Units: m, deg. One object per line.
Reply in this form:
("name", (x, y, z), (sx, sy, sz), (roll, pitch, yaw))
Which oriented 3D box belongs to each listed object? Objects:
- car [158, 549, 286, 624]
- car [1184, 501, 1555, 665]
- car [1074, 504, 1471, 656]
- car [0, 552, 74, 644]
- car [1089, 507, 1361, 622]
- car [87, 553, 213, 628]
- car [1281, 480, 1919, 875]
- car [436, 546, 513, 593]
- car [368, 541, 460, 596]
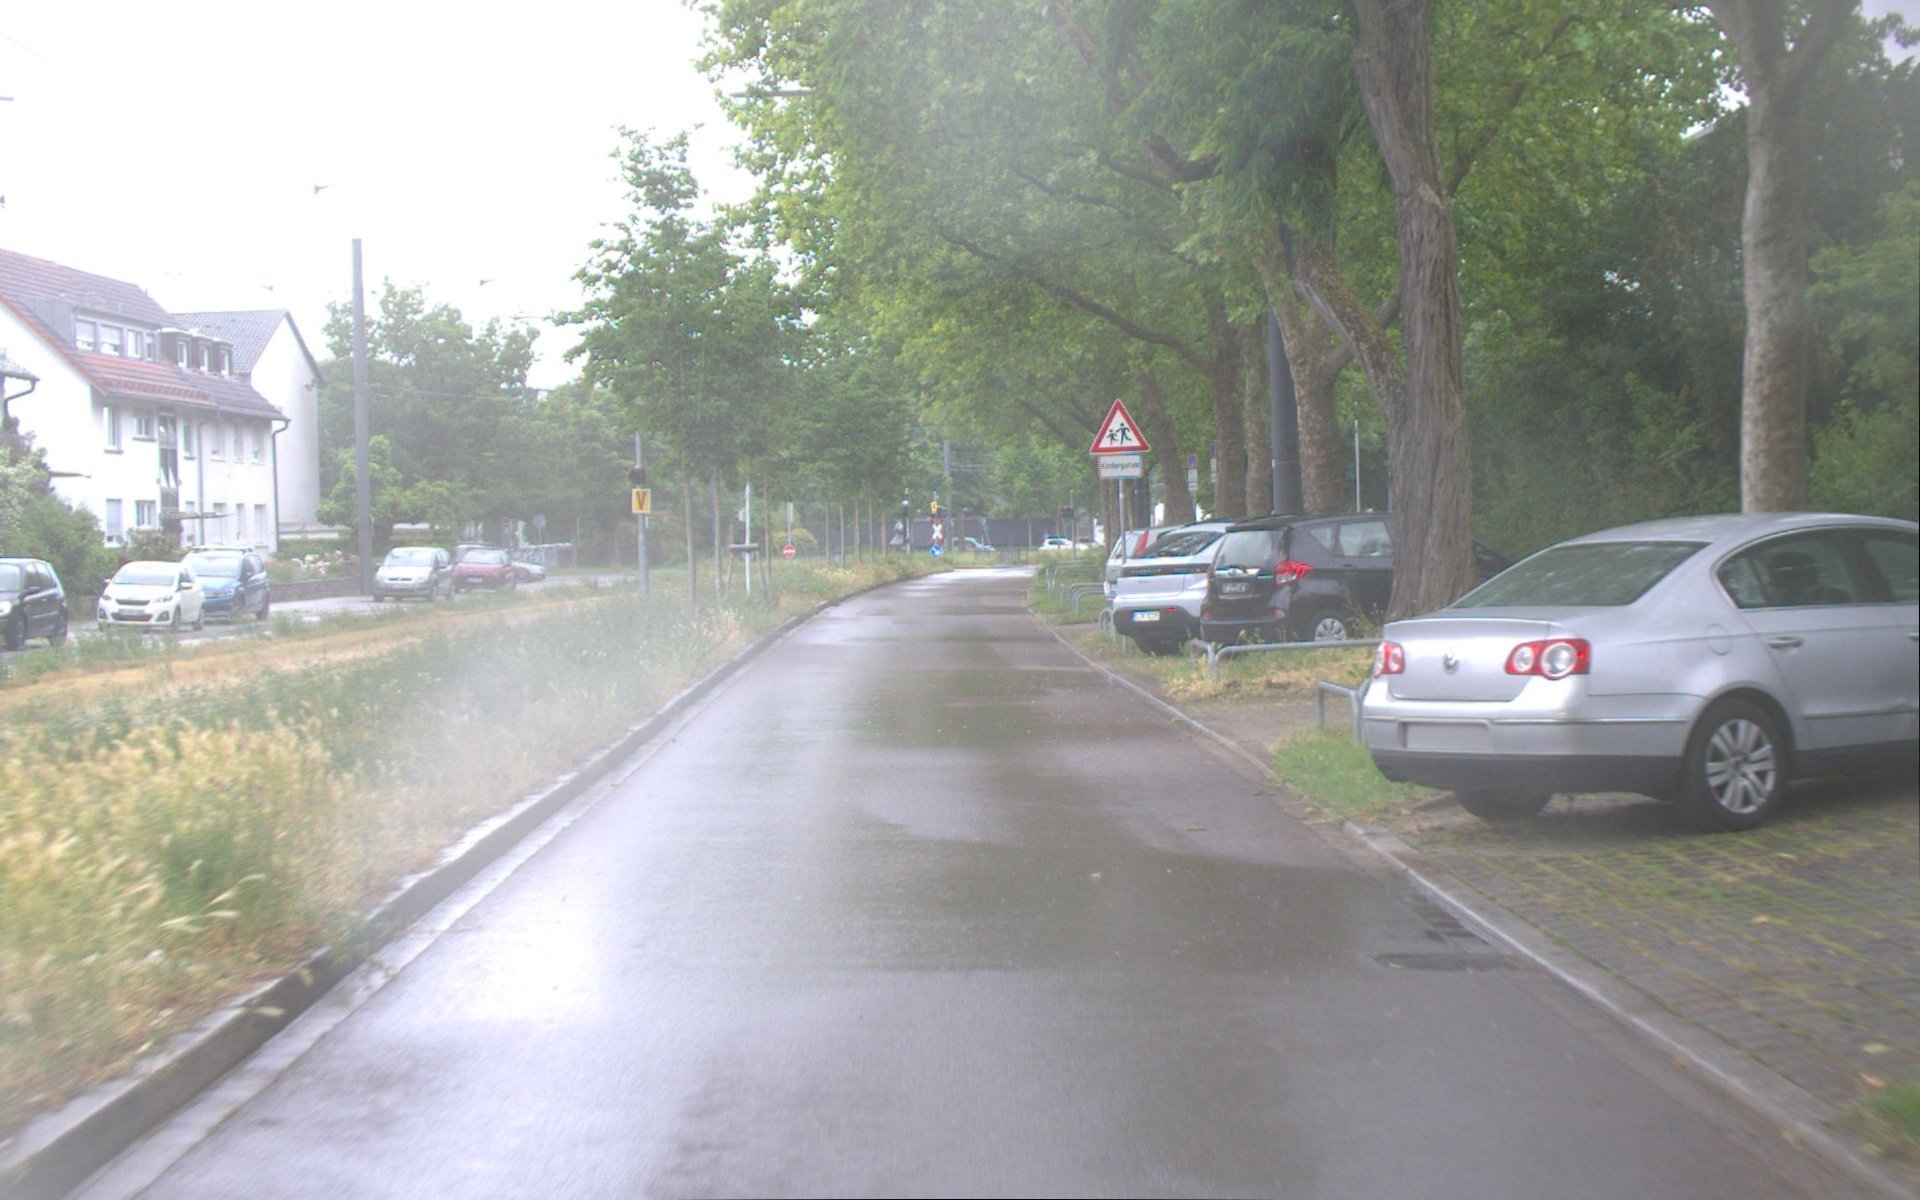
("car", (-17.029, -0.335, 79.523), (1.993, 1.608, 4.413), (0, 2, 1))
("car", (4.395, -0.197, 36.723), (3.703, 1.561, 1.619), (-3, 2, -33))
("car", (3.931, -0.273, 42.807), (4.761, 1.662, 1.994), (-3, 2, -37))
("car", (-17.261, -0.057, 60.944), (1.993, 1.511, 4.206), (0, 2, 1))
("car", (4.131, -0.567, 53.762), (3.854, 1.561, 1.620), (-3, 2, -14))
("car", (-17.099, -0.213, 72.697), (1.796, 1.483, 3.597), (0, 2, 1))
("car", (4.043, 0.279, 17.366), (4.547, 1.539, 1.887), (-5, 3, -33))
("car", (-16.484, -1.048, 116.960), (1.993, 1.483, 4.206), (0, 2, 1))
("car", (-16.379, -0.960, 103.319), (1.993, 1.575, 4.517), (0, 2, 1))
